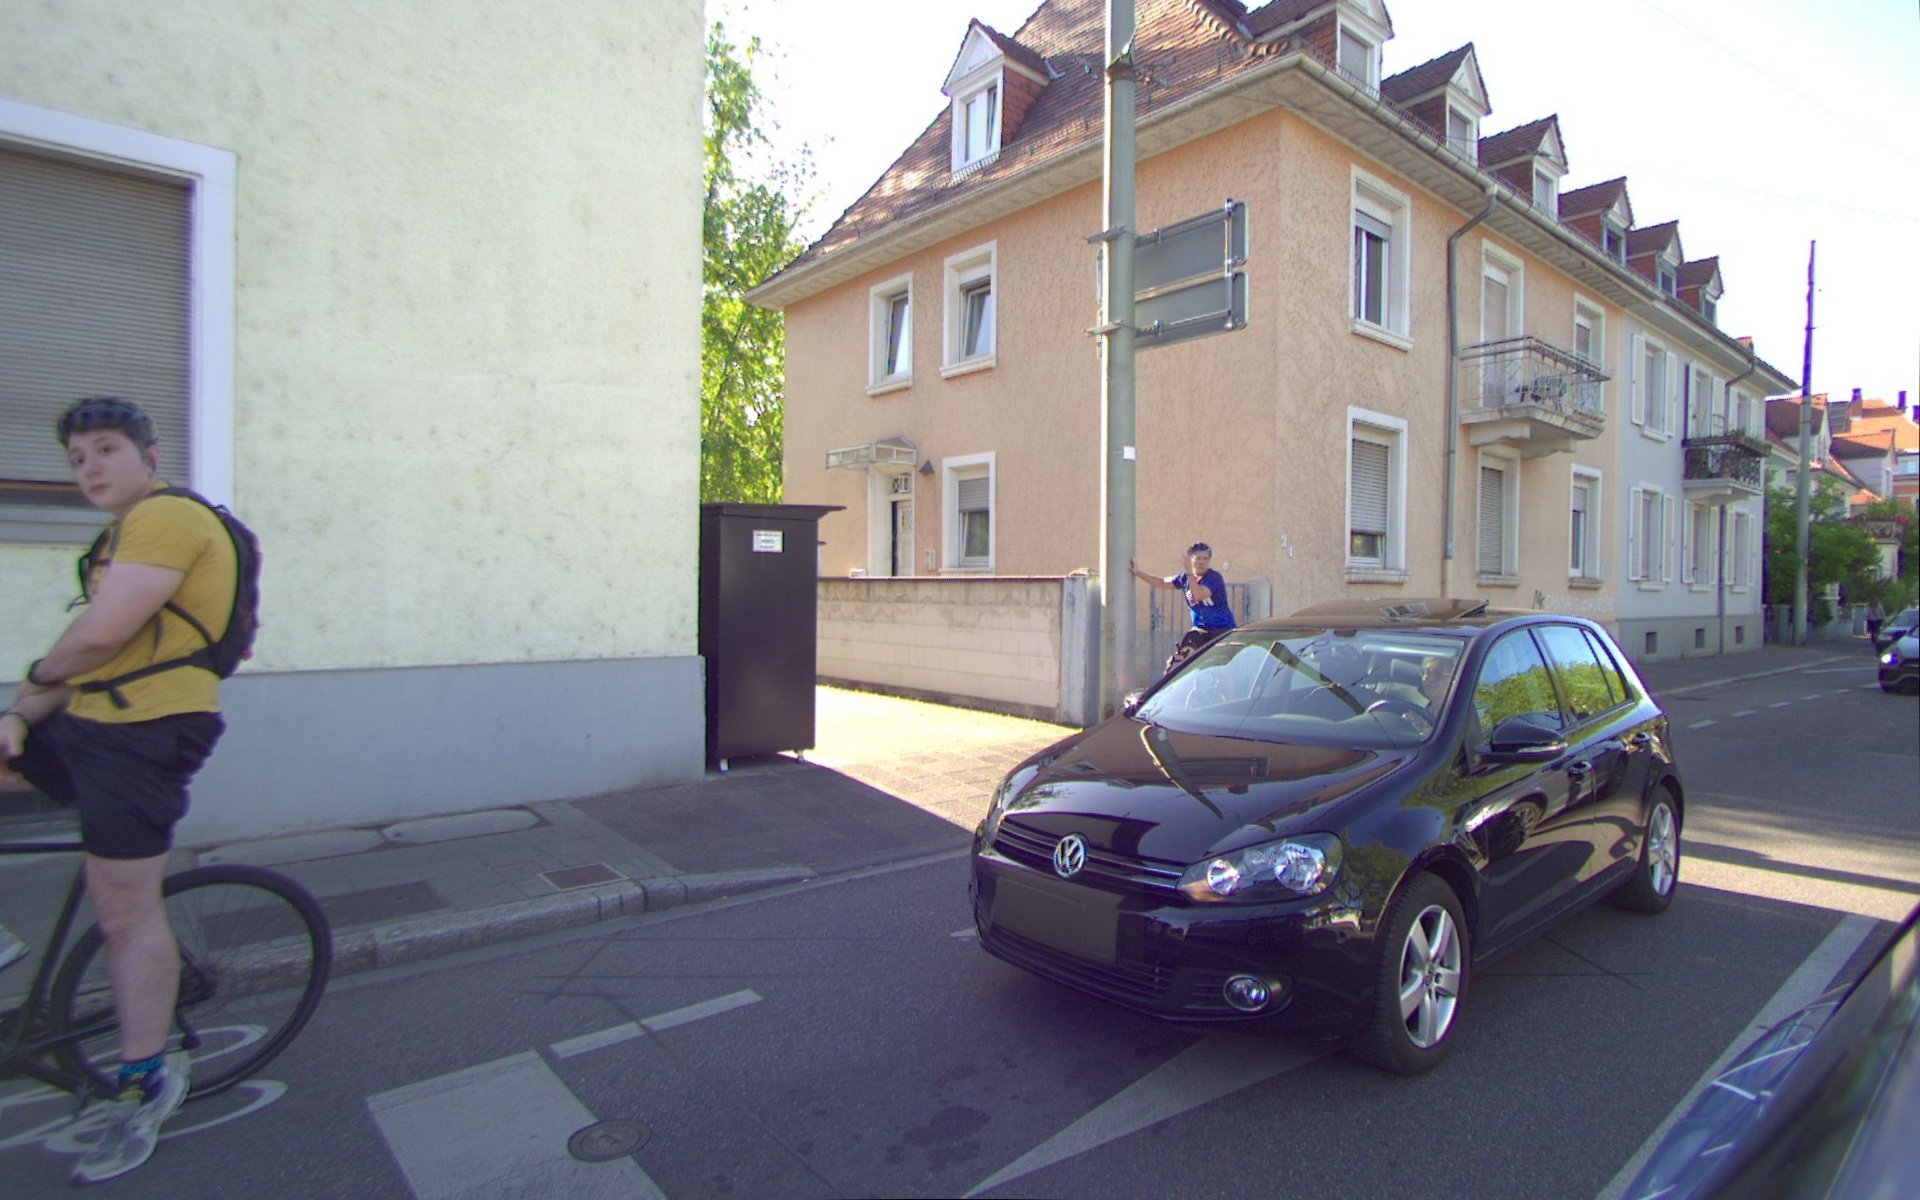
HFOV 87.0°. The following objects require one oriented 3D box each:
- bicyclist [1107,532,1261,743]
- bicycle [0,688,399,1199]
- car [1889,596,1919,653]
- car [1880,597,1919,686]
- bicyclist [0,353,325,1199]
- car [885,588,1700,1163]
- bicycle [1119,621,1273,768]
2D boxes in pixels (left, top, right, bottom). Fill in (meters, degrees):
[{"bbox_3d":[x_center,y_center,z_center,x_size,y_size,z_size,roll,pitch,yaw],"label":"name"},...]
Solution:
[{"bbox_3d":[1.984,0.292,9.012,1.018,1.714,0.718,6,4,42],"label":"bicyclist"},{"bbox_3d":[-2.497,0.869,2.569,0.777,1.120,1.720,0,0,36],"label":"bicycle"},{"bbox_3d":[26.766,0.623,27.436,4.258,1.448,1.824,-1,0,-40],"label":"car"},{"bbox_3d":[17.807,0.712,17.338,4.400,1.449,1.829,1,0,-31],"label":"car"},{"bbox_3d":[-2.342,0.426,2.785,0.777,1.991,0.768,0,0,36],"label":"bicyclist"},{"bbox_3d":[1.743,0.684,4.529,3.921,1.456,1.716,-1,0,-41],"label":"car"},{"bbox_3d":[2.106,0.778,8.902,0.554,1.088,1.601,6,4,42],"label":"bicycle"}]
